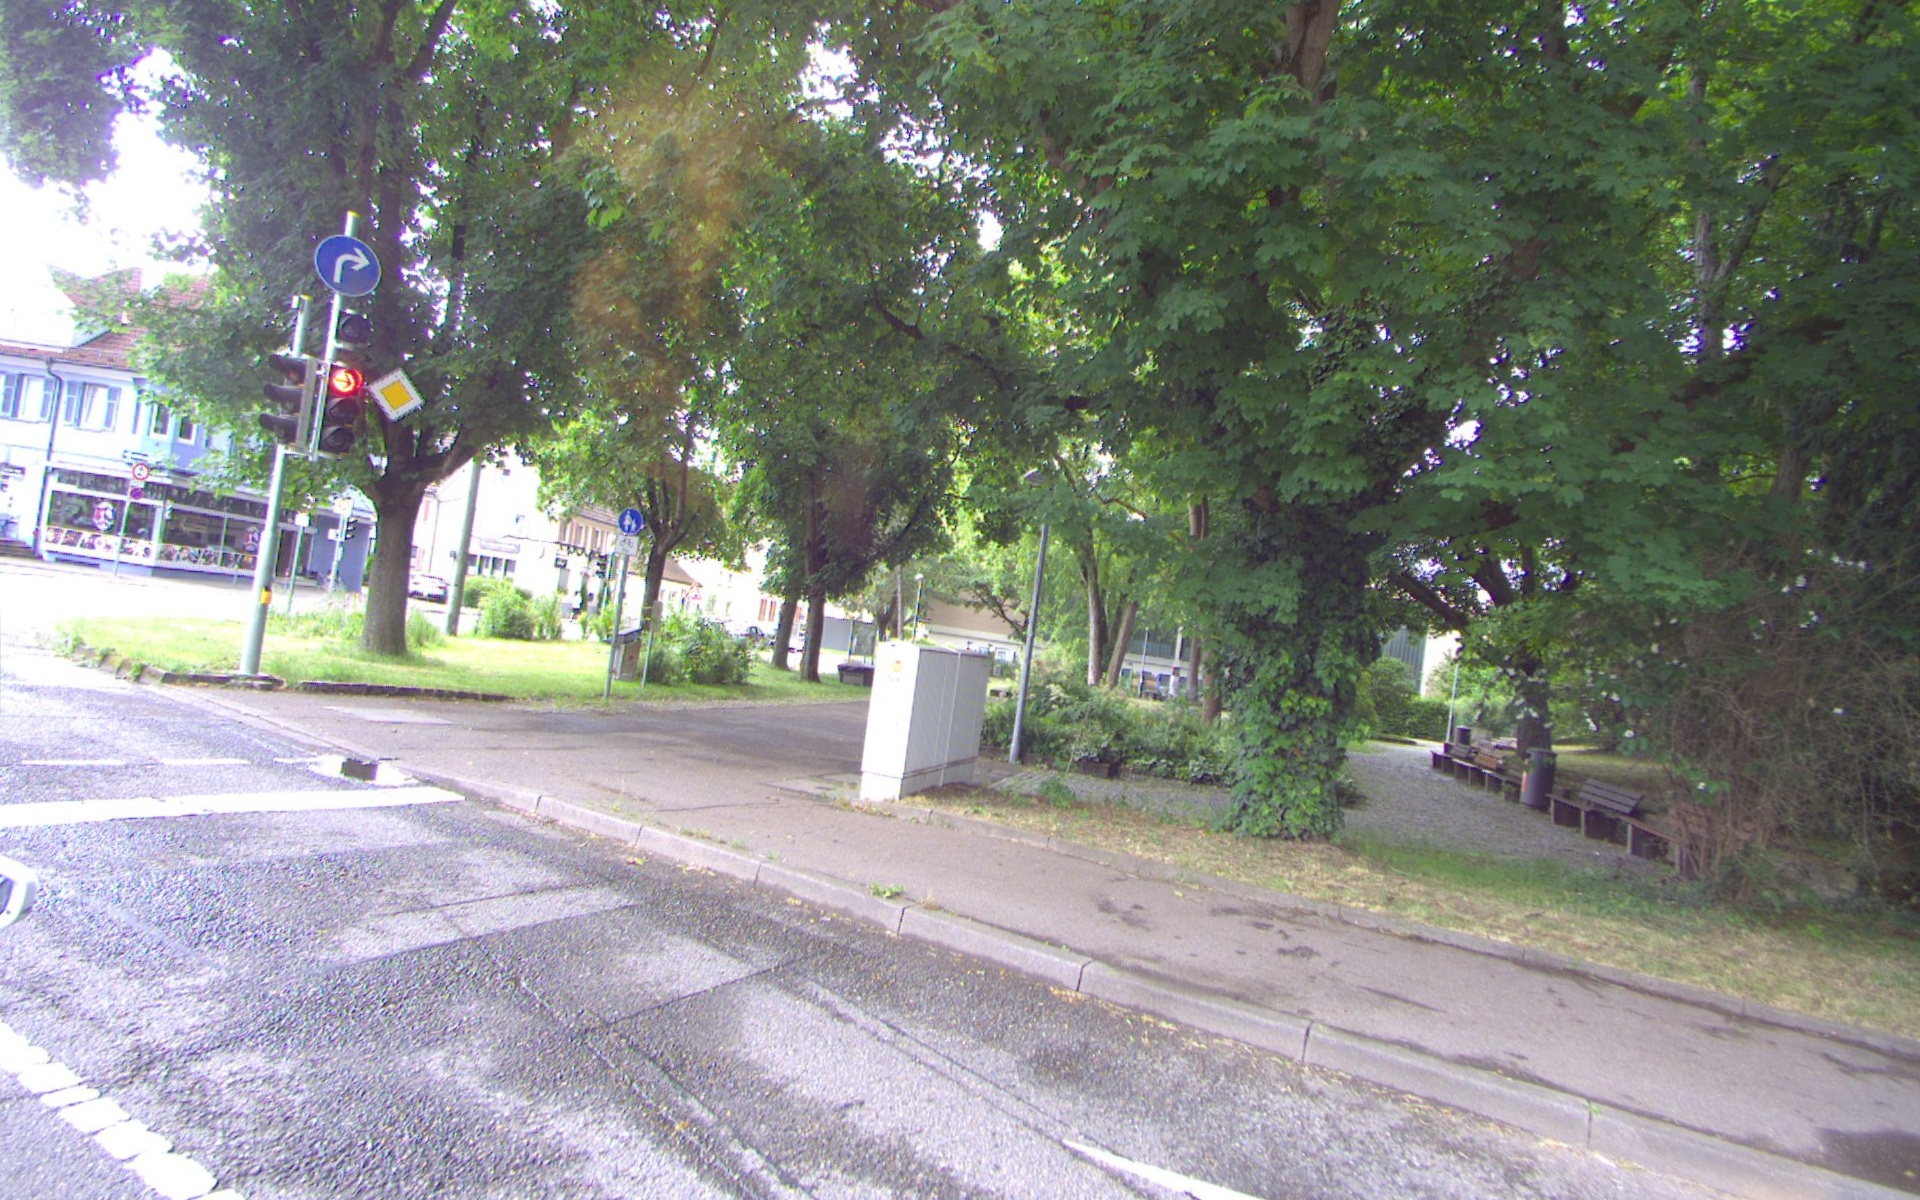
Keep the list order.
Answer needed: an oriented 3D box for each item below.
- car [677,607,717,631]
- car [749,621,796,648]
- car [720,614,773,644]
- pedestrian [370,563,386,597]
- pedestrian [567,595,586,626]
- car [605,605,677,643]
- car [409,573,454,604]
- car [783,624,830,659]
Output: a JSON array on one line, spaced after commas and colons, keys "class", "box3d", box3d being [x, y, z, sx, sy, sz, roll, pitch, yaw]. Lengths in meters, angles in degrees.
[{"class": "car", "box3d": [-19.371, 1.445, 74.245, 1.528, 1.436, 4.005, 7, -2, 4]}, {"class": "car", "box3d": [-11.167, 2.072, 60.102, 1.530, 1.336, 3.514, 7, -2, 8]}, {"class": "car", "box3d": [-11.569, 1.598, 54.817, 1.530, 1.336, 3.514, 7, -2, 9]}, {"class": "pedestrian", "box3d": [-27.229, -0.947, 47.069, 0.455, 1.535, 0.583, 7, -1, -32]}, {"class": "pedestrian", "box3d": [-21.759, 0.623, 57.048, 0.600, 1.668, 0.610, 7, -1, 3]}, {"class": "car", "box3d": [-14.009, 1.091, 44.353, 1.530, 1.336, 3.514, 7, -2, 9]}, {"class": "car", "box3d": [-27.871, -0.602, 53.140, 1.479, 1.384, 3.166, 8, -2, -19]}, {"class": "car", "box3d": [-10.056, 2.760, 66.171, 1.750, 2.037, 4.005, 7, -2, 7]}]
